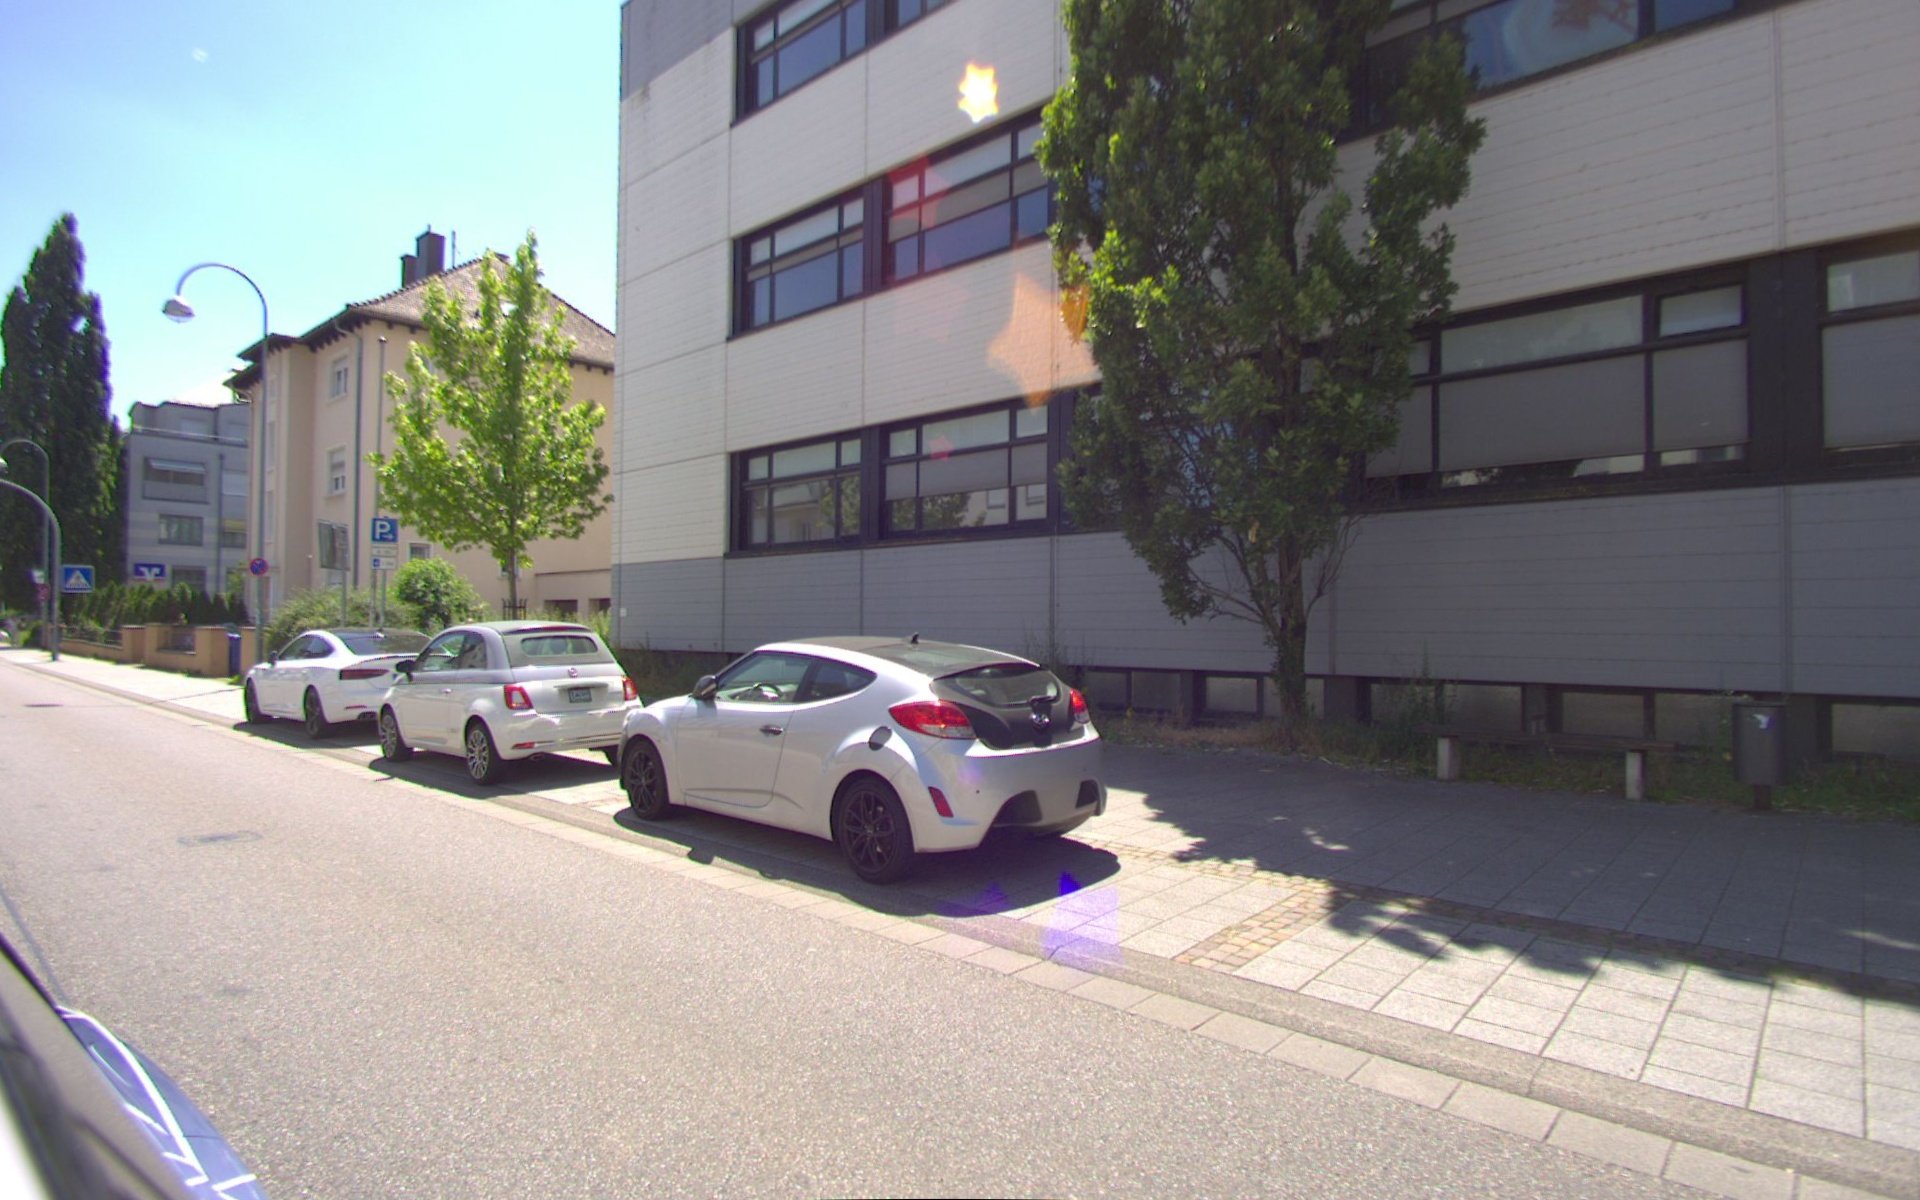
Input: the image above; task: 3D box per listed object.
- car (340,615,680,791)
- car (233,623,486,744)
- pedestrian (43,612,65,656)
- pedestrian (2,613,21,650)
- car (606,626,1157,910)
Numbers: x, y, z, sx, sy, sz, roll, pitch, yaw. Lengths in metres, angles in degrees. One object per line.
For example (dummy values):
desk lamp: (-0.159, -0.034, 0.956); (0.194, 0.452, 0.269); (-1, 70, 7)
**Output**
car: (-4.993, 0.935, 10.941); (4.288, 1.523, 1.803); (-1, -1, 42)
car: (-8.568, 1.047, 14.259); (4.576, 1.422, 1.803); (-1, -2, 42)
pedestrian: (-35.397, 1.334, 39.523); (0.708, 1.698, 0.531); (-1, -2, 42)
pedestrian: (-43.924, 1.456, 46.853); (0.708, 1.698, 0.531); (-1, -2, 42)
car: (-0.758, 0.920, 7.228); (3.933, 1.420, 1.729); (-1, -1, 43)
